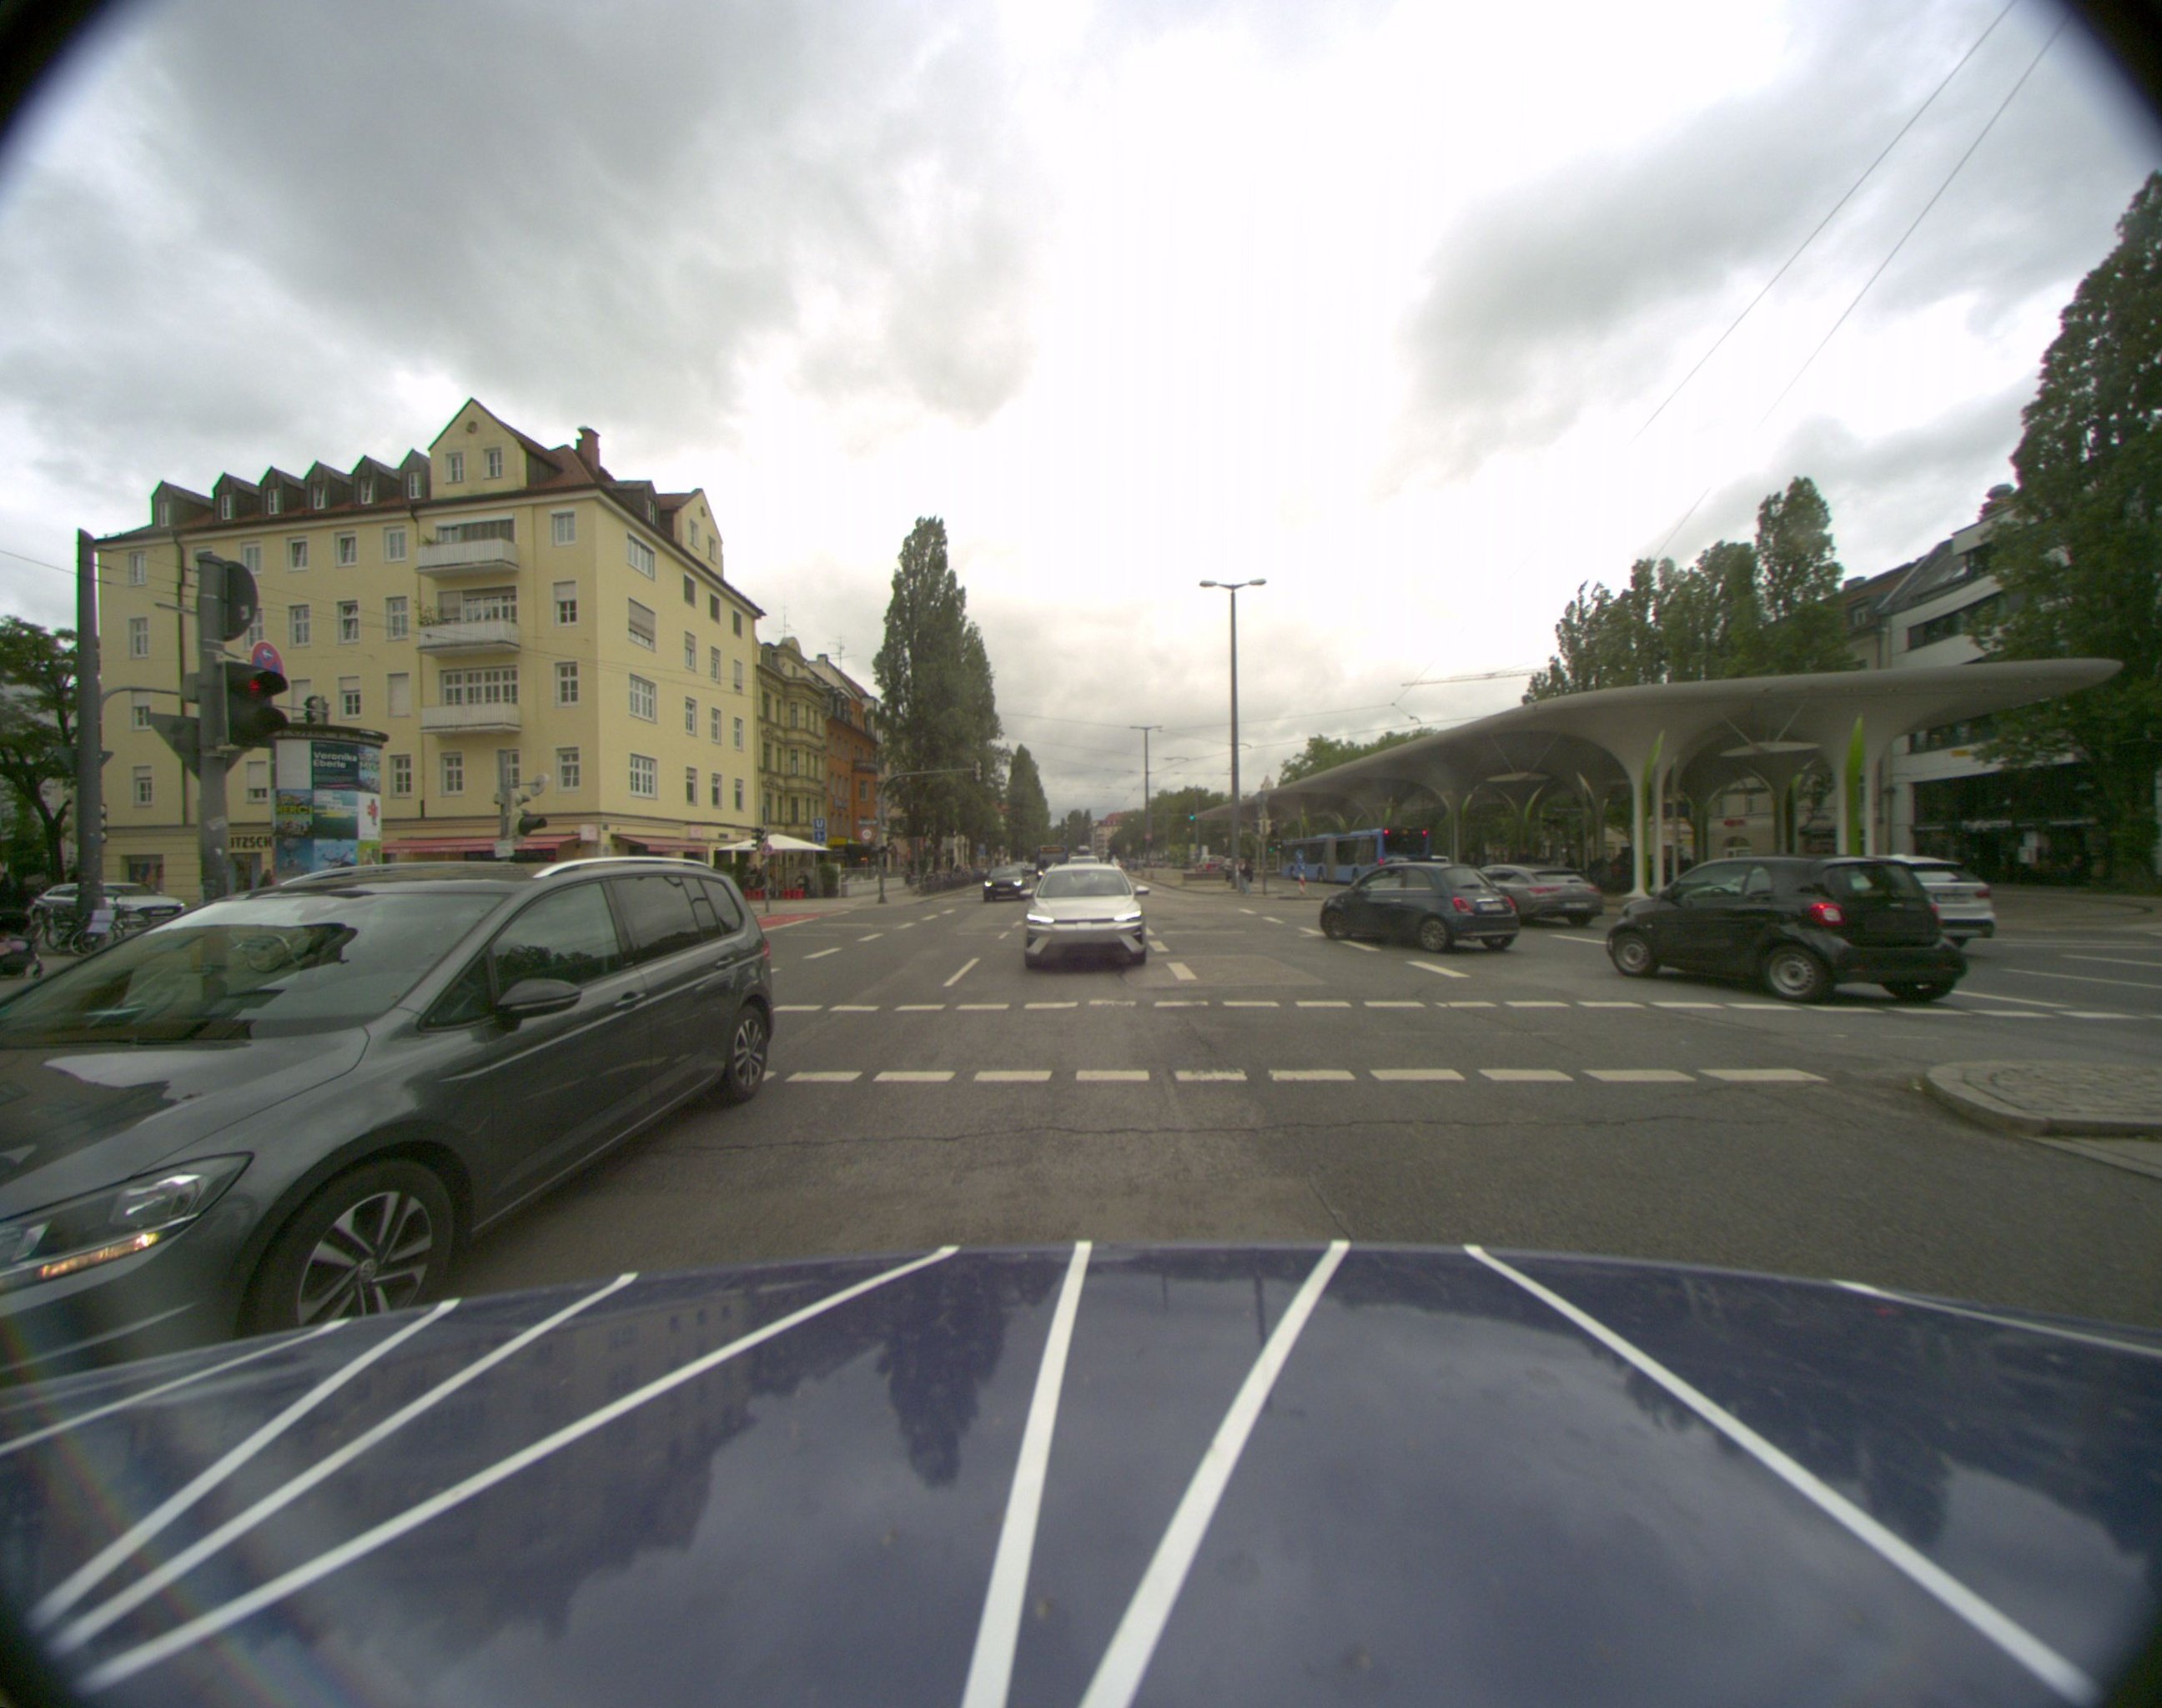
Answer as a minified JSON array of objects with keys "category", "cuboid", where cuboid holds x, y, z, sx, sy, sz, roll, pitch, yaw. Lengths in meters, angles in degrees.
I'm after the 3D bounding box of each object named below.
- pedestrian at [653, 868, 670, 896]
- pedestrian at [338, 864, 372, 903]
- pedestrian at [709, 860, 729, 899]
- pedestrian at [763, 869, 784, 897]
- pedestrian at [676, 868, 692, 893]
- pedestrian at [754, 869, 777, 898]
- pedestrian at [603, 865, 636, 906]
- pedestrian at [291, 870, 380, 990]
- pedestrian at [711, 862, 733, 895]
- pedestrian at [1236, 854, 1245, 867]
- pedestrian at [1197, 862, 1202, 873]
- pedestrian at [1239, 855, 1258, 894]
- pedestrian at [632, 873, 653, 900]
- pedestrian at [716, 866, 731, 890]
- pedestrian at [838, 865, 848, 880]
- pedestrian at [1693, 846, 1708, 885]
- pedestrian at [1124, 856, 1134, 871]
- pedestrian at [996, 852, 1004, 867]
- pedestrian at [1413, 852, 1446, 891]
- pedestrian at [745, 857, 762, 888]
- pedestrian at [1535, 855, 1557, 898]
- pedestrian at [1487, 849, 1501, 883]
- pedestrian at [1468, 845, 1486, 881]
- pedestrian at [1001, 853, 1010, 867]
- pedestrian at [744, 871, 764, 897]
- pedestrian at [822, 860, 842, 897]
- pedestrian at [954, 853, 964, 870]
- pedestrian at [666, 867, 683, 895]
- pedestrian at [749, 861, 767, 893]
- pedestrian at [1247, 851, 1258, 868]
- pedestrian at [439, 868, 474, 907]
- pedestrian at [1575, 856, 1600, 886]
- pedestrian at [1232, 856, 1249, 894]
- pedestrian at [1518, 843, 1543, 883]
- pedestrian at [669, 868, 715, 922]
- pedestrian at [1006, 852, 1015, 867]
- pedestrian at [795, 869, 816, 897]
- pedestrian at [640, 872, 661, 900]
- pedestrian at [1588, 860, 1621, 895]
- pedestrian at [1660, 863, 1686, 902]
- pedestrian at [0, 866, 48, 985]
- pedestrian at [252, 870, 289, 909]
[{"category":"pedestrian","cuboid":[-19.775,1.322,35.819,0.479,1.291,0.527,-1,0,-1]},{"category":"pedestrian","cuboid":[-32.151,1.292,33.647,0.852,1.673,0.705,-1,1,11]},{"category":"pedestrian","cuboid":[-15.982,1.118,33.521,0.761,1.685,0.766,-1,1,-25]},{"category":"pedestrian","cuboid":[-14.727,1.387,36.394,0.679,1.304,0.796,-1,1,1]},{"category":"pedestrian","cuboid":[-19.290,1.291,36.962,0.479,1.159,0.527,-1,0,-1]},{"category":"pedestrian","cuboid":[-14.737,1.386,35.505,0.679,1.304,0.796,-1,1,1]},{"category":"pedestrian","cuboid":[-19.433,1.325,32.009,1.040,1.673,0.837,-1,0,-23]},{"category":"pedestrian","cuboid":[-11.125,1.096,11.341,0.834,1.681,0.821,-1,0,38]},{"category":"pedestrian","cuboid":[-18.310,1.241,38.747,0.712,1.623,0.786,-1,0,0]},{"category":"pedestrian","cuboid":[20.047,0.849,95.368,0.739,1.619,0.741,-1,0,-21]},{"category":"pedestrian","cuboid":[18.027,2.061,115.657,0.632,1.549,0.589,0,0,-1]},{"category":"pedestrian","cuboid":[6.991,0.866,31.759,0.488,1.609,0.556,-1,1,-34]},{"category":"pedestrian","cuboid":[-19.632,1.468,34.051,0.515,1.175,0.703,-1,0,-1]},{"category":"pedestrian","cuboid":[-19.852,1.341,42.161,0.542,1.282,0.552,-1,1,0]},{"category":"pedestrian","cuboid":[-19.857,1.522,63.510,0.624,1.211,0.583,-1,0,-1]},{"category":"pedestrian","cuboid":[30.676,0.553,37.610,0.484,1.921,0.422,-1,0,-28]},{"category":"pedestrian","cuboid":[5.864,1.162,93.192,0.862,1.801,0.895,-3,1,-27]},{"category":"pedestrian","cuboid":[-9.555,0.615,89.644,0.699,1.770,0.652,-2,0,34]},{"category":"pedestrian","cuboid":[15.401,0.772,33.592,0.974,1.671,0.840,-1,0,-20]},{"category":"pedestrian","cuboid":[-18.344,1.017,42.570,0.602,1.729,0.666,-1,1,0]},{"category":"pedestrian","cuboid":[19.093,0.914,31.225,0.548,1.710,0.615,-1,1,8]},{"category":"pedestrian","cuboid":[19.597,0.581,36.035,0.519,1.579,0.481,-1,0,31]},{"category":"pedestrian","cuboid":[18.926,0.439,36.294,0.703,1.700,0.758,-1,0,31]},{"category":"pedestrian","cuboid":[-8.962,0.703,90.313,0.758,1.628,0.699,-1,-1,-43]},{"category":"pedestrian","cuboid":[-15.681,1.449,36.491,0.627,1.196,0.700,-1,1,1]},{"category":"pedestrian","cuboid":[-11.924,1.183,36.404,0.884,1.733,0.857,-1,0,-16]},{"category":"pedestrian","cuboid":[-11.026,0.682,68.699,0.761,1.553,0.763,-1,0,2]},{"category":"pedestrian","cuboid":[-19.198,1.286,35.879,0.479,1.291,0.527,-1,0,-1]},{"category":"pedestrian","cuboid":[-16.828,1.185,39.599,0.616,1.623,0.677,-1,1,0]},{"category":"pedestrian","cuboid":[18.185,0.560,80.556,0.667,1.828,0.809,-1,1,-29]},{"category":"pedestrian","cuboid":[-26.030,1.390,31.678,0.760,1.576,0.768,-1,0,4]},{"category":"pedestrian","cuboid":[27.653,0.909,41.496,0.813,1.601,0.791,-1,0,7]},{"category":"pedestrian","cuboid":[6.750,0.879,32.090,0.520,1.609,0.465,0,1,44]},{"category":"pedestrian","cuboid":[20.544,0.415,34.758,0.805,1.806,0.706,-1,1,15]},{"category":"pedestrian","cuboid":[-13.072,1.354,25.556,0.935,1.745,1.065,-1,0,4]},{"category":"pedestrian","cuboid":[-8.528,0.630,91.457,0.881,1.791,0.757,-2,0,11]},{"category":"pedestrian","cuboid":[-13.139,1.383,36.200,0.679,1.303,0.796,-1,1,1]},{"category":"pedestrian","cuboid":[-19.766,1.462,34.904,0.515,1.284,0.703,-1,0,-1]},{"category":"pedestrian","cuboid":[21.950,0.964,31.894,1.022,1.444,0.855,-1,0,26]},{"category":"pedestrian","cuboid":[24.478,1.176,31.442,0.597,1.601,0.624,-1,0,4]},{"category":"pedestrian","cuboid":[-16.148,1.066,11.362,0.649,1.740,0.638,-1,-3,23]},{"category":"pedestrian","cuboid":[-34.561,1.499,32.395,0.759,1.633,0.768,-1,0,11]}]
